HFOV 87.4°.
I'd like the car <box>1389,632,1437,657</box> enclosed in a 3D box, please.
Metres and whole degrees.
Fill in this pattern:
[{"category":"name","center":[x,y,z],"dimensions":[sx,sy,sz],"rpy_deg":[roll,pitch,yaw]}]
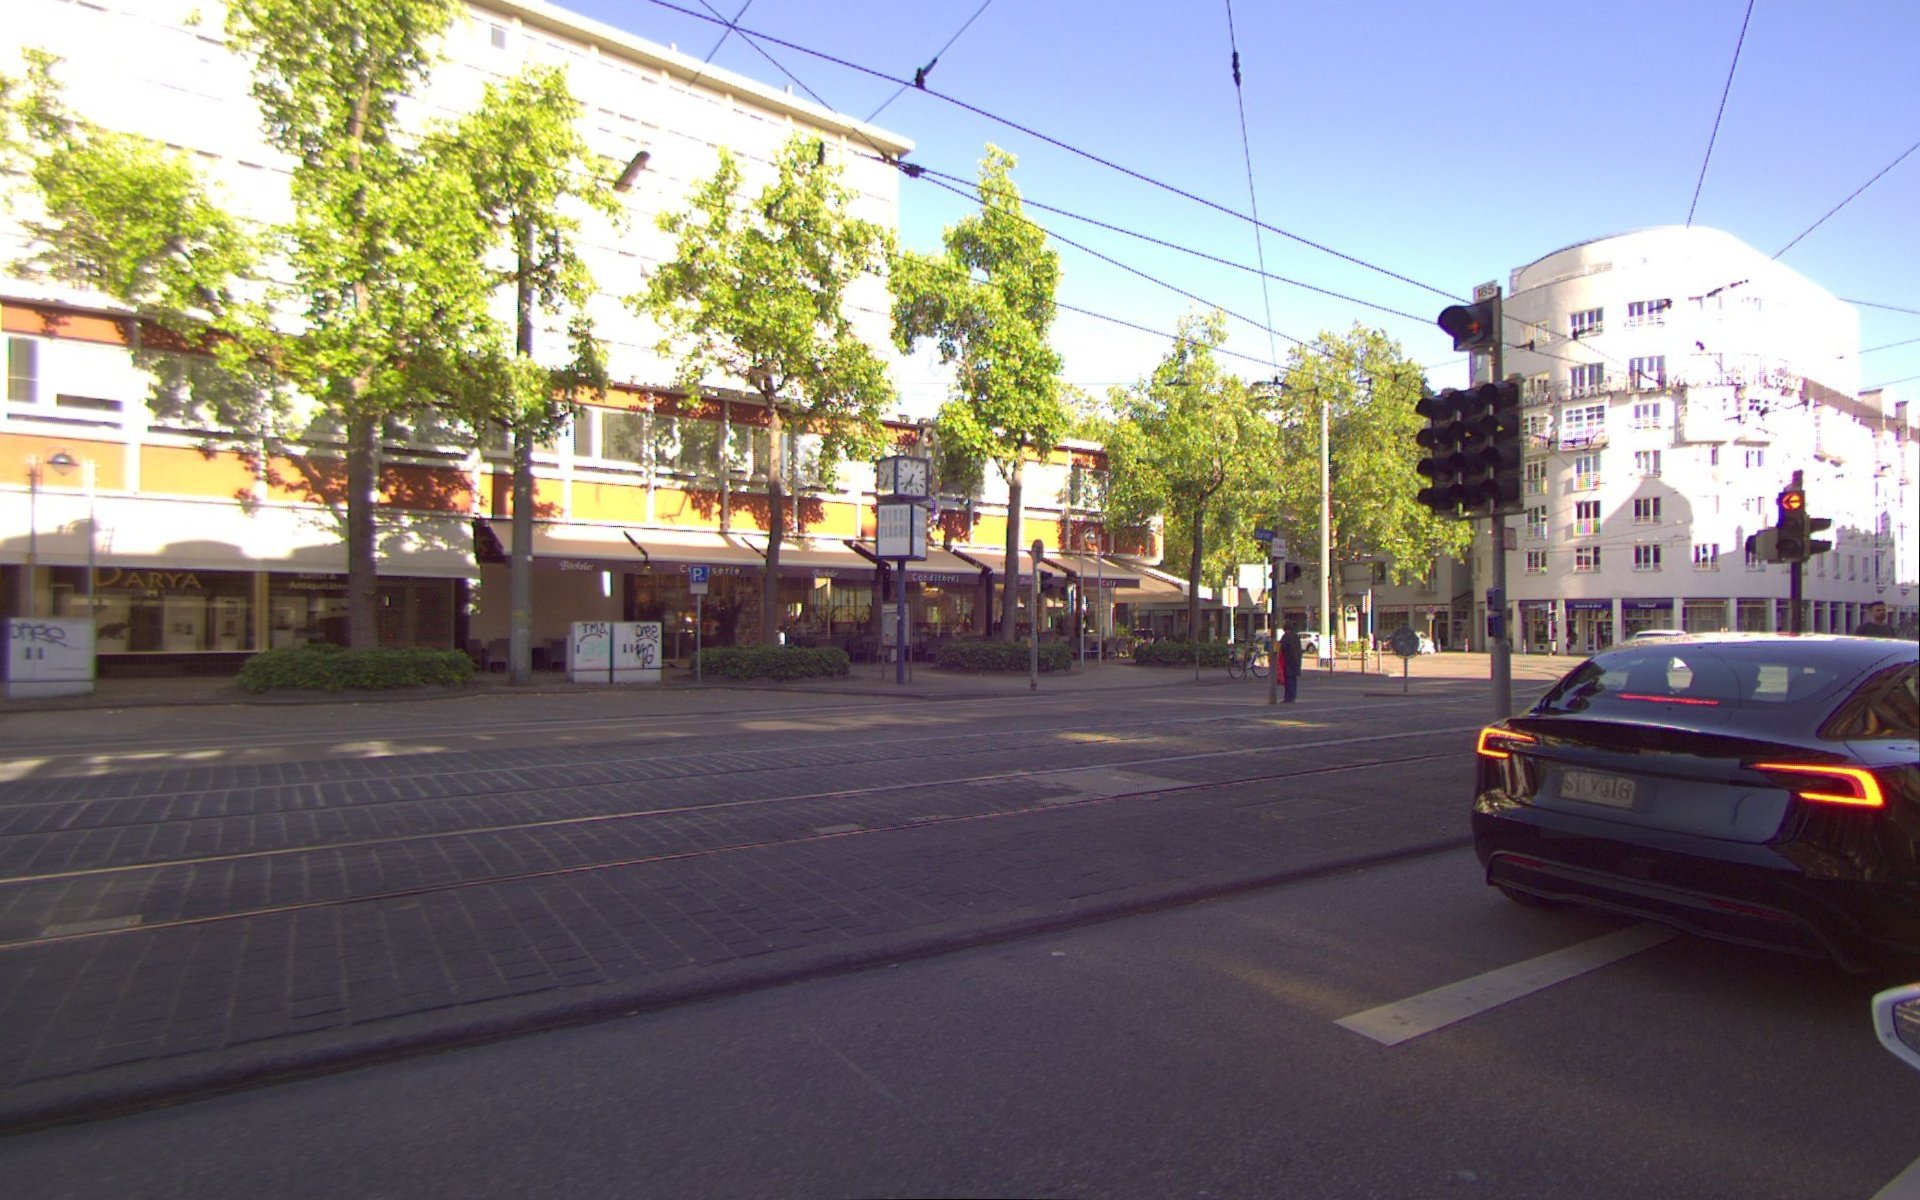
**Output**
[{"category":"car","center":[29.900,2.895,66.230],"dimensions":[1.777,1.422,4.080],"rpy_deg":[-1,0,41]}]

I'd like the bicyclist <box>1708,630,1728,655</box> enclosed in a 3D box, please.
[{"category":"bicyclist","center":[40.379,2.251,53.514],"dimensions":[0.917,1.302,0.585],"rpy_deg":[2,-2,-34]}]

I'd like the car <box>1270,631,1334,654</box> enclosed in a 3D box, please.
[{"category":"car","center":[23.688,2.939,69.673],"dimensions":[1.782,1.422,3.975],"rpy_deg":[-1,0,-31]}]

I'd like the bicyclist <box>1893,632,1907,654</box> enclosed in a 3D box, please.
[{"category":"bicyclist","center":[65.544,2.998,70.051],"dimensions":[0.919,1.507,0.584],"rpy_deg":[2,-2,-37]}]

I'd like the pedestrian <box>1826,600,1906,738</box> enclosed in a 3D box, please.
[{"category":"pedestrian","center":[12.232,0.916,13.566],"dimensions":[0.886,1.786,0.554],"rpy_deg":[1,-3,-35]}]

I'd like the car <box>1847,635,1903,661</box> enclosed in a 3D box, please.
[{"category":"car","center":[59.018,3.109,64.754],"dimensions":[3.964,1.617,1.979],"rpy_deg":[3,-3,-37]}]

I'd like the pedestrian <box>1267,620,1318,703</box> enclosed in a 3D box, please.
[{"category":"pedestrian","center":[6.350,1.166,19.182],"dimensions":[0.850,1.537,0.496],"rpy_deg":[1,-3,-35]}]

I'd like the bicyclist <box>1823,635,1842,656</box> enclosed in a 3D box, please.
[{"category":"bicyclist","center":[53.010,2.760,61.002],"dimensions":[0.981,1.302,0.585],"rpy_deg":[2,-2,-31]}]

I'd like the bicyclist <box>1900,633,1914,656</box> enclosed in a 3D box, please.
[{"category":"bicyclist","center":[67.519,3.173,71.623],"dimensions":[0.888,1.606,0.584],"rpy_deg":[2,-2,-37]}]

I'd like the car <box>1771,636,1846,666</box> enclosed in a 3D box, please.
[{"category":"car","center":[43.981,2.613,52.033],"dimensions":[4.606,1.470,1.979],"rpy_deg":[1,-2,-37]}]

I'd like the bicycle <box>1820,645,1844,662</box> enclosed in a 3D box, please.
[{"category":"bicycle","center":[52.939,3.266,60.958],"dimensions":[1.834,0.985,0.591],"rpy_deg":[2,-2,-32]}]

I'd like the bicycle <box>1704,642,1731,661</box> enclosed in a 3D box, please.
[{"category":"bicycle","center":[40.377,2.740,53.523],"dimensions":[1.799,0.985,0.590],"rpy_deg":[3,-3,-35]}]

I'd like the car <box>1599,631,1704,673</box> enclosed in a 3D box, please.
[{"category":"car","center":[26.190,1.922,38.000],"dimensions":[4.460,1.470,1.979],"rpy_deg":[1,-2,-37]}]

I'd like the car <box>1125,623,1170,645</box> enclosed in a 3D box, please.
[{"category":"car","center":[16.866,3.044,90.188],"dimensions":[3.963,1.906,1.804],"rpy_deg":[1,-2,-37]}]

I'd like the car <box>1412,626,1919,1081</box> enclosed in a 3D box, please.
[{"category":"car","center":[4.344,0.896,5.235],"dimensions":[4.113,1.443,1.798],"rpy_deg":[1,0,-36]}]

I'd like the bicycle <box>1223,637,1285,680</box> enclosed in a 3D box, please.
[{"category":"bicycle","center":[8.506,1.675,29.053],"dimensions":[2.214,1.202,0.494],"rpy_deg":[1,-2,-37]}]

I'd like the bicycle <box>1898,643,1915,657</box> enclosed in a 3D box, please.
[{"category":"bicycle","center":[67.586,3.566,71.718],"dimensions":[2.029,0.985,0.589],"rpy_deg":[3,-3,-37]}]
